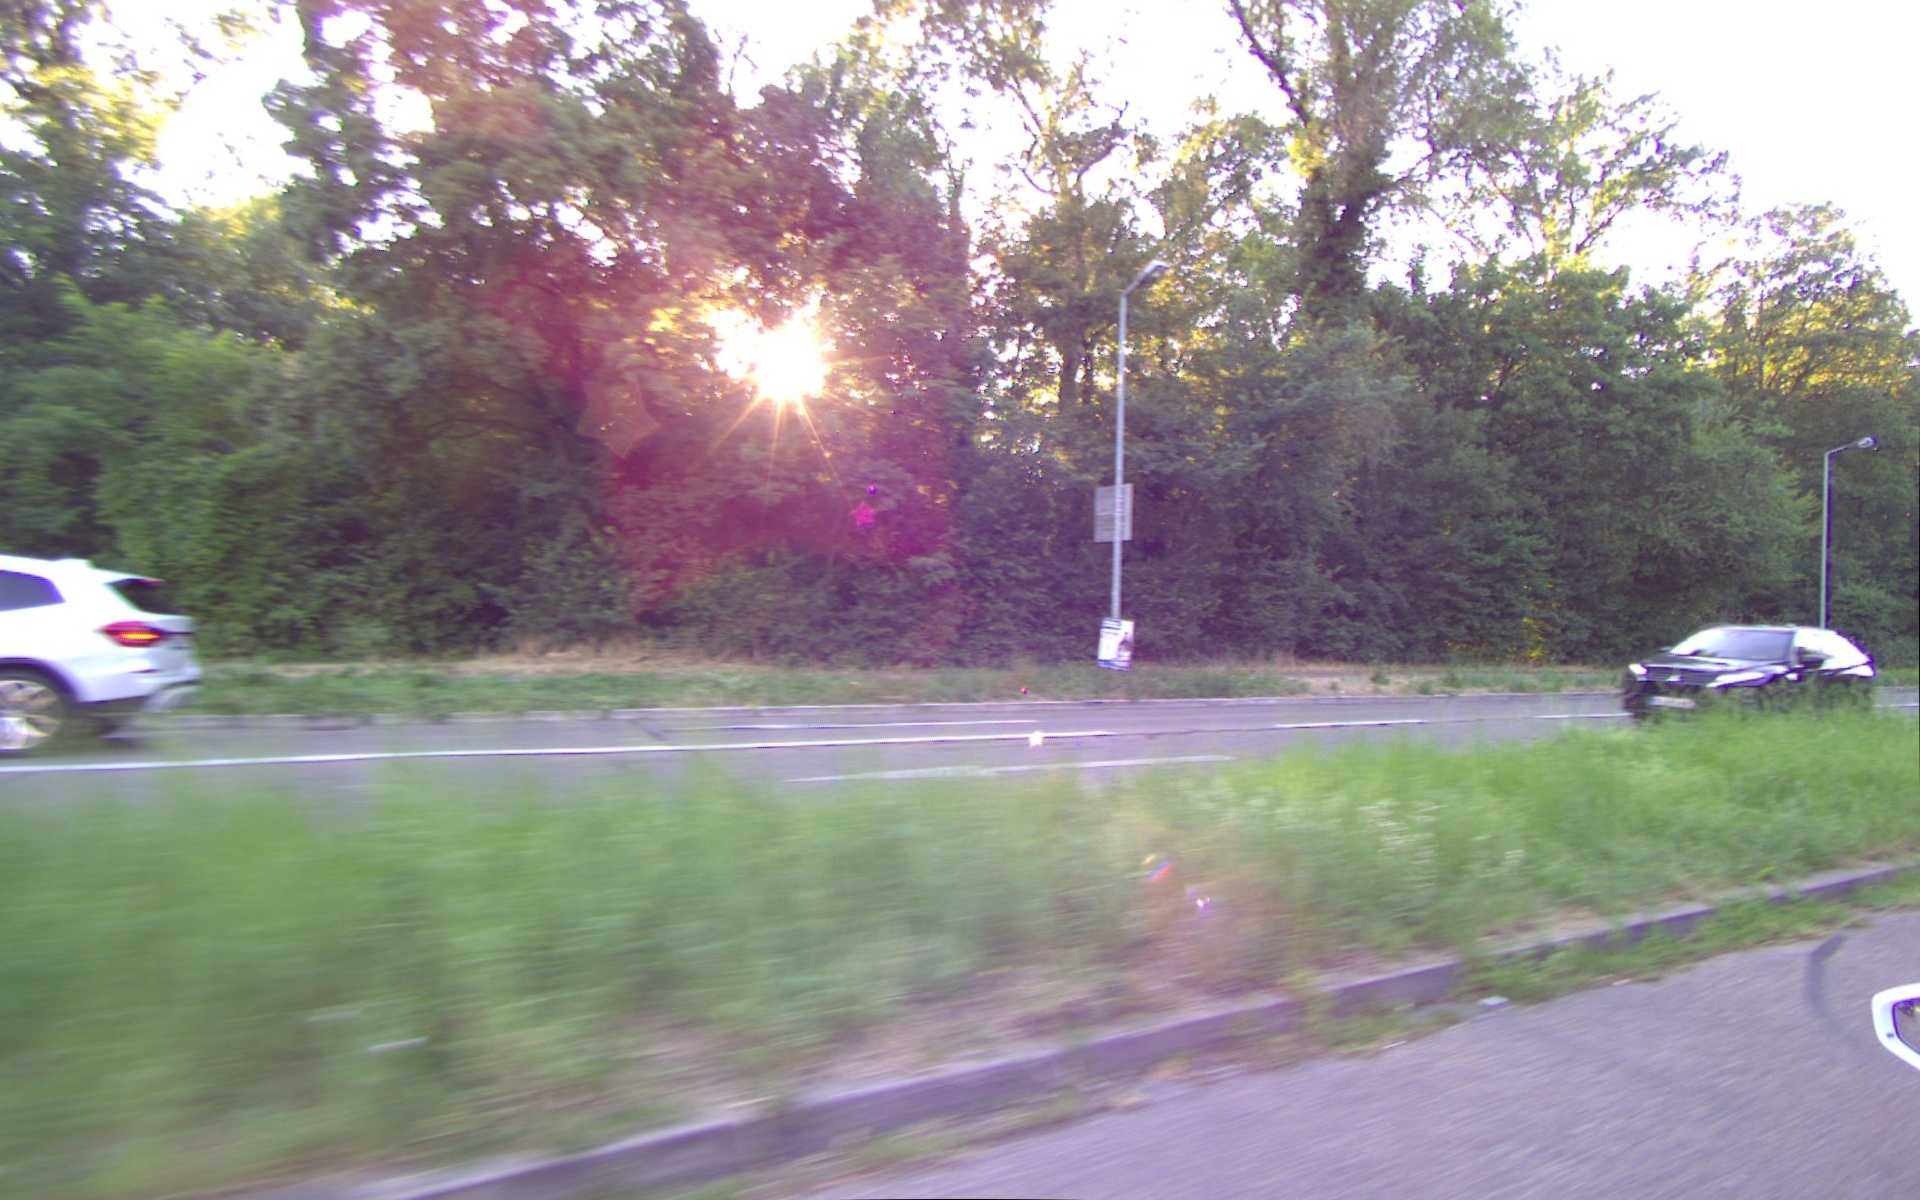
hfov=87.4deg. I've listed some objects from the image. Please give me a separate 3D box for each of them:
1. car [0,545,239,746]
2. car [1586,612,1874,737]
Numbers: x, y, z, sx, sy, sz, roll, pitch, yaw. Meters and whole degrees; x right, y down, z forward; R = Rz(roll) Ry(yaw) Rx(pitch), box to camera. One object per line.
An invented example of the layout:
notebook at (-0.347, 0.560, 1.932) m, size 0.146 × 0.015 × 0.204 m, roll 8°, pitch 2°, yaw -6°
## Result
car at (-9.179, 0.361, 8.575) m, size 4.578 × 1.634 × 1.816 m, roll 2°, pitch -3°, yaw -25°
car at (11.612, 1.076, 15.100) m, size 4.396 × 1.649 × 1.806 m, roll 2°, pitch -2°, yaw -28°
